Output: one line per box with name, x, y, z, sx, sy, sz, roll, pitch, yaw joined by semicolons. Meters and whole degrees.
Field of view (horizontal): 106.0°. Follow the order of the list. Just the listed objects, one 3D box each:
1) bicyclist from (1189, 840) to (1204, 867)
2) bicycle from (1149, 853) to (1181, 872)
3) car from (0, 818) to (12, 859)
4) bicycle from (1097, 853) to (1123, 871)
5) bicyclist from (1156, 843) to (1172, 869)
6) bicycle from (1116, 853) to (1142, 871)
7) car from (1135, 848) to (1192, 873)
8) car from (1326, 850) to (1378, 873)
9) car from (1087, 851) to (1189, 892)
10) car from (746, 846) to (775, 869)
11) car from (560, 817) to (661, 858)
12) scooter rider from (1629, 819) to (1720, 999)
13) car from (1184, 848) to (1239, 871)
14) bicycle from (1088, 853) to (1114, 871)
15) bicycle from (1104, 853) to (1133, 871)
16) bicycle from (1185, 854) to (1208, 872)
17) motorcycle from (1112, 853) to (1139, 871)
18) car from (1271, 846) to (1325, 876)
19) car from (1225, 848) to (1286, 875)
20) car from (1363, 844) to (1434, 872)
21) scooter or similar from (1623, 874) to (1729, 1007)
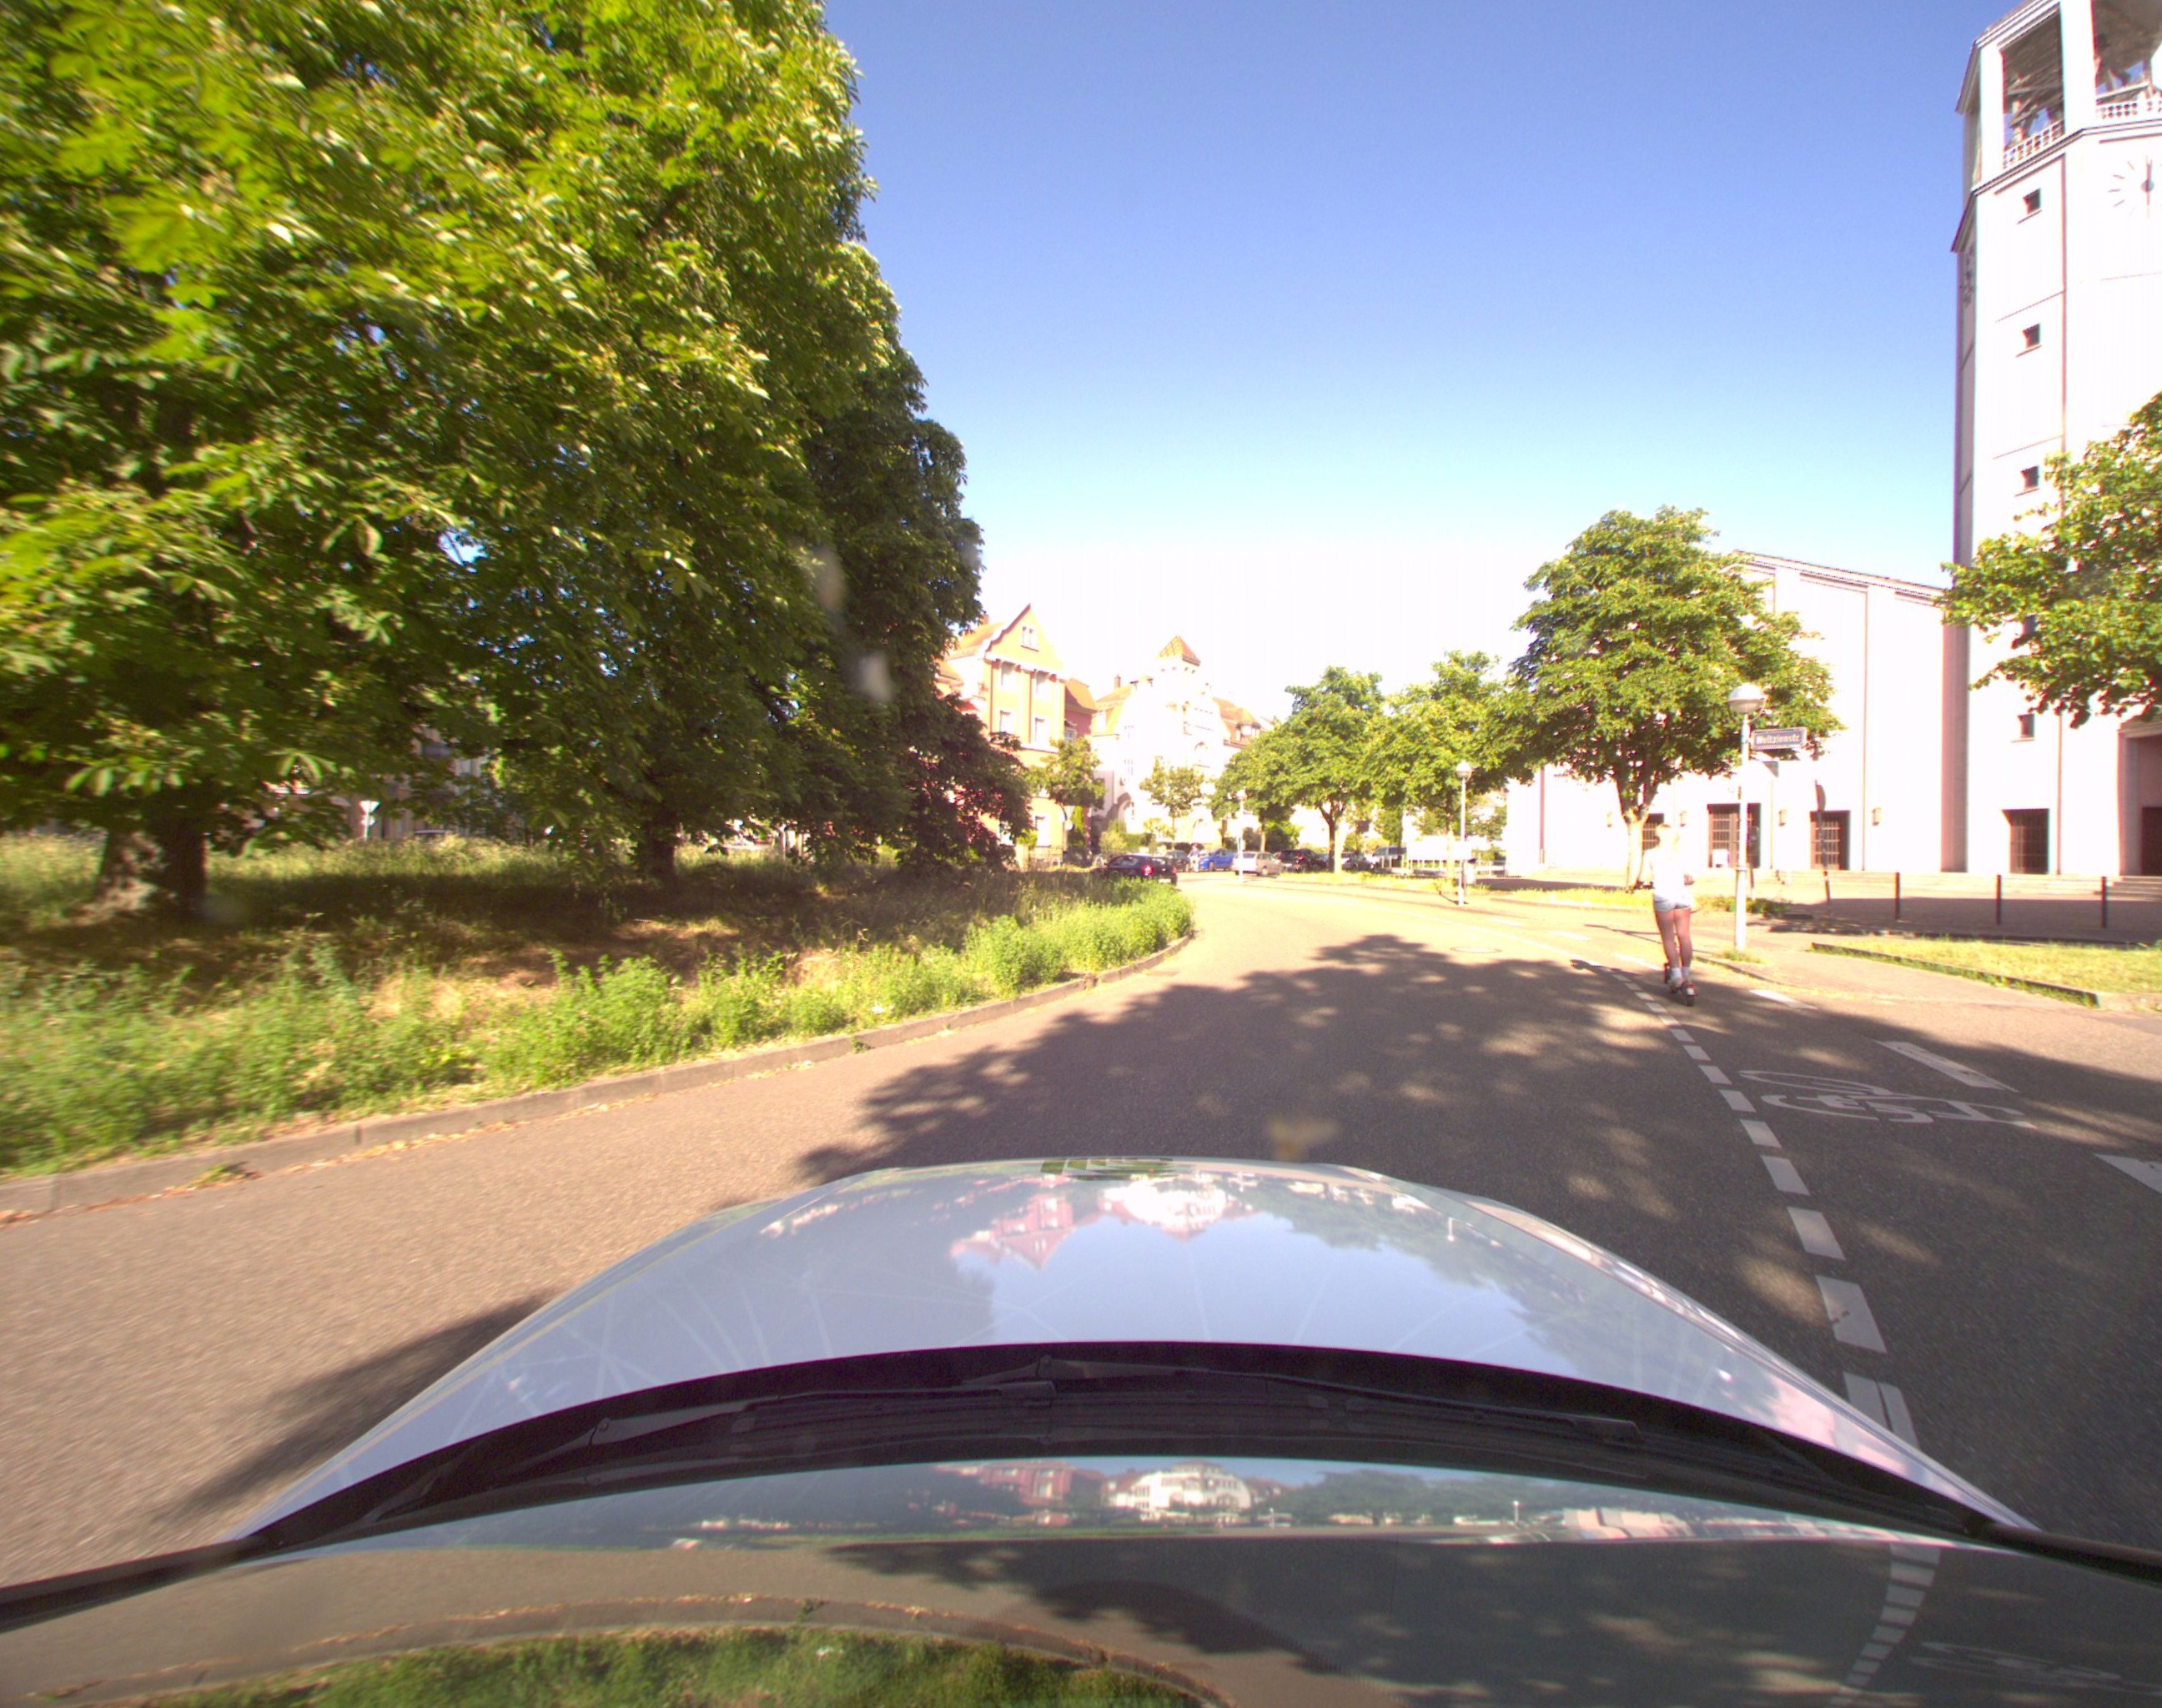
bicyclist;7.277;-0.037;51.318;0.637;1.714;0.727;0;-1;39
bicycle;5.104;0.514;49.369;1.867;1.107;0.590;0;0;-27
car;-52.718;-0.747;37.909;4.511;1.909;2.151;0;0;17
bicycle;1.910;0.517;53.386;1.705;1.115;0.549;3;2;40
bicyclist;5.038;0.135;49.446;0.804;1.581;0.592;0;0;-20
bicycle;3.248;0.539;55.161;1.705;1.107;0.504;3;2;33
car;5.392;0.405;52.772;1.786;1.483;4.366;-2;-1;34
car;18.786;0.525;56.314;1.787;1.474;4.365;2;1;42
car;2.060;0.602;30.366;1.877;1.419;3.961;0;0;-31
car;-20.972;0.218;53.230;1.689;1.446;3.520;2;0;-22
car;-31.697;-1.099;54.836;6.305;2.600;2.113;2;0;18
scooter rider;6.309;0.553;8.686;0.618;1.832;0.635;0;0;20
car;9.190;0.363;57.168;1.786;1.562;4.427;-3;-1;39
bicycle;1.284;0.498;52.675;1.705;1.115;0.549;3;2;40
bicycle;2.472;0.520;53.929;1.808;1.107;0.504;2;1;24
bicycle;7.315;0.570;51.364;0.637;1.107;1.728;0;-1;39
motorcycle;2.966;0.541;54.515;1.705;1.107;0.504;3;2;33
car;13.392;0.383;50.002;1.786;1.728;4.366;1;1;35
car;9.958;0.425;46.271;1.786;1.415;4.366;1;1;35
car;24.190;0.265;62.046;4.718;2.001;1.821;1;1;35
scooter or similar;6.302;0.872;8.688;0.625;1.283;1.112;0;0;20
